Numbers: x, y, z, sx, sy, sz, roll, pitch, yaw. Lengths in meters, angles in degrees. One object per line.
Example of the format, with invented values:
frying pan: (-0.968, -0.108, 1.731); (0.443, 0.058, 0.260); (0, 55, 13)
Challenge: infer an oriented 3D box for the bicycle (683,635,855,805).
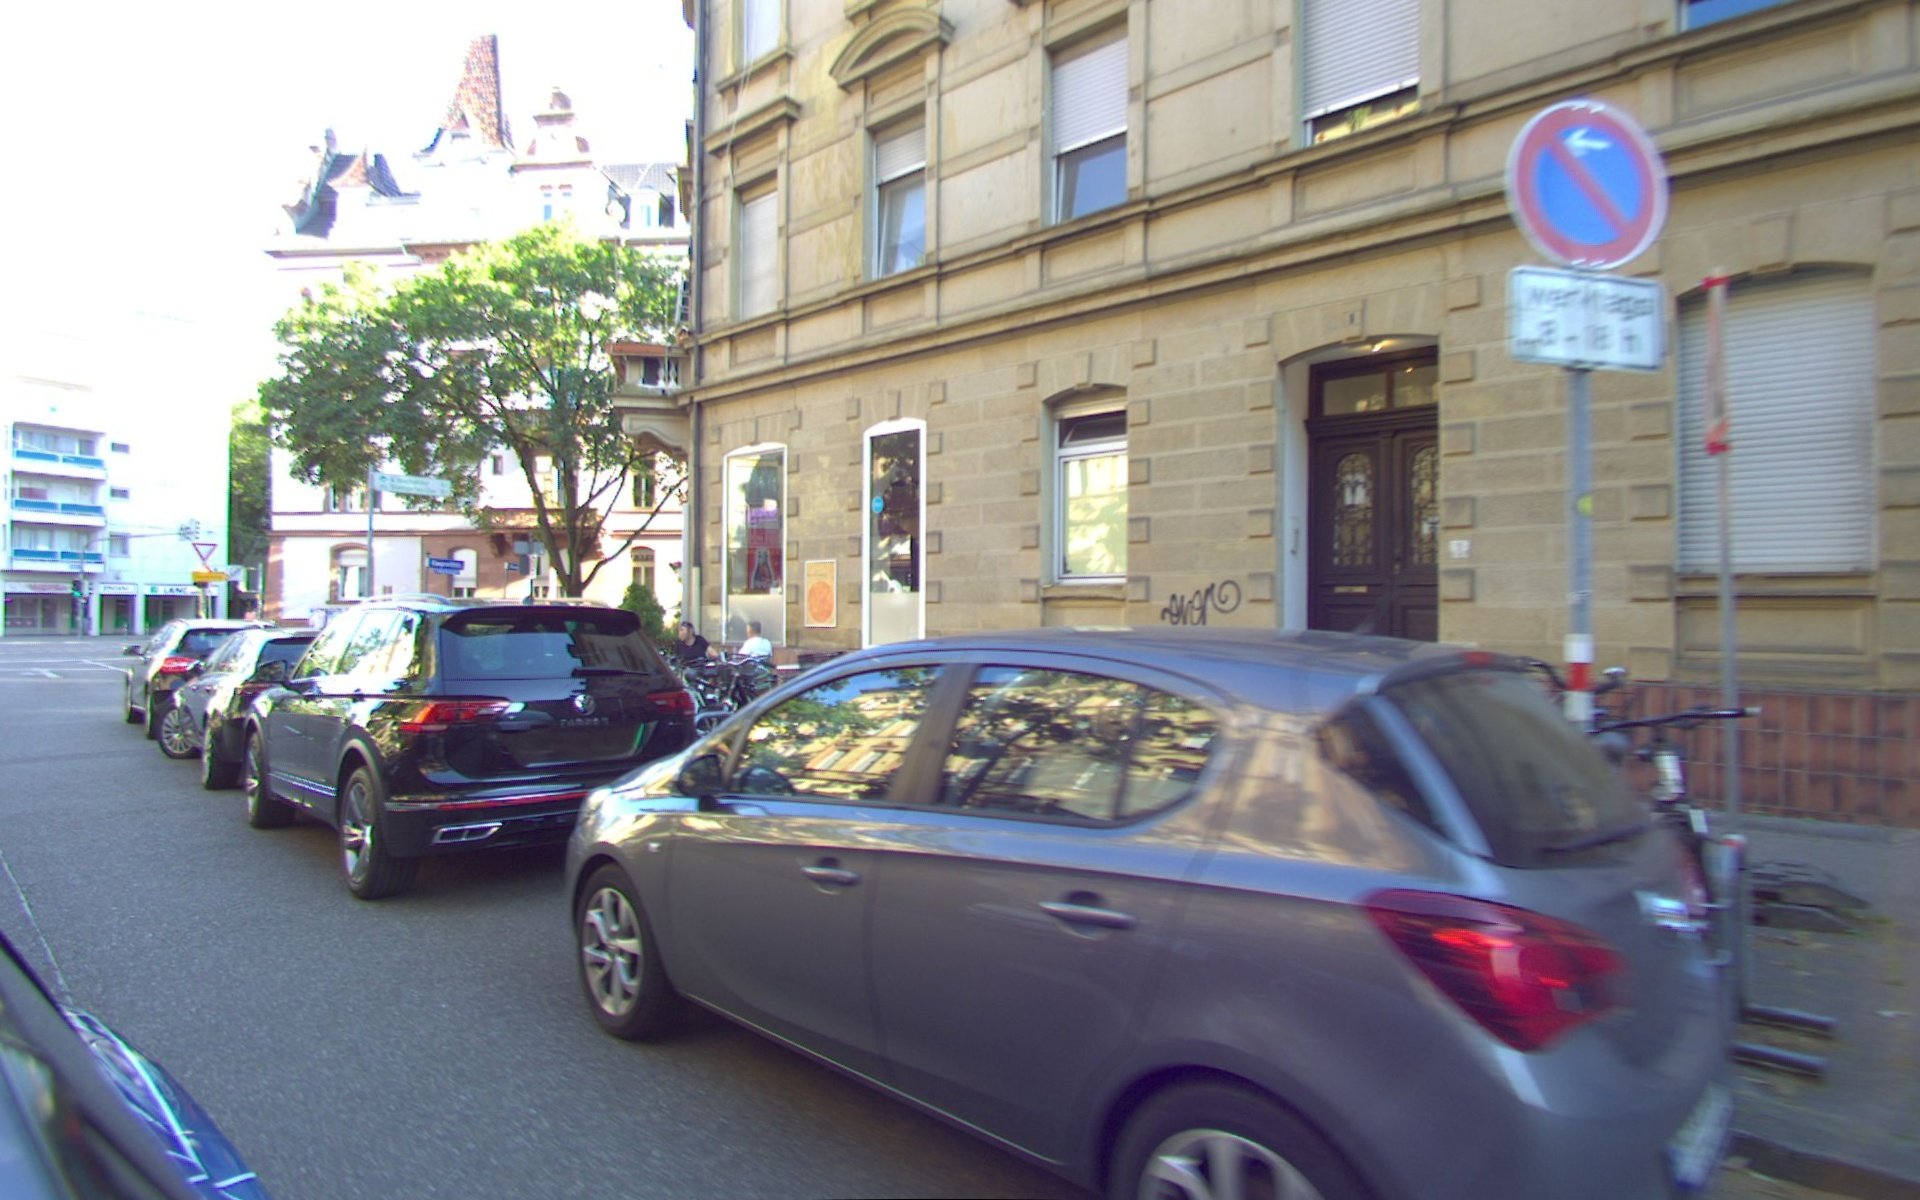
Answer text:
bicycle: (-1.476, 0.887, 8.168); (0.524, 1.137, 1.862); (-1, 0, 18)

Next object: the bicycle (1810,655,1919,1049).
bicycle: (3.626, 0.836, 3.878); (0.528, 1.137, 1.848); (-1, 0, 41)

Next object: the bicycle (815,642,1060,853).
bicycle: (-0.087, 0.893, 6.763); (0.528, 1.137, 1.848); (-1, 0, 41)

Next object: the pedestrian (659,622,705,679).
pedestrian: (-6.473, 1.167, 23.570); (0.740, 1.299, 0.737); (-1, -1, 31)

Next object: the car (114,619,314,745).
car: (-10.558, 1.027, 14.207); (1.738, 1.499, 4.142); (2, -2, -43)

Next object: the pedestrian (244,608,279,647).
pedestrian: (-30.733, 1.209, 44.563); (0.857, 1.710, 0.984); (0, -1, 0)

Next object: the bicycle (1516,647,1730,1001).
bicycle: (2.940, 0.823, 4.405); (0.528, 1.137, 1.848); (-1, 0, 41)

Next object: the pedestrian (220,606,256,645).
pedestrian: (-31.636, 1.112, 44.353); (0.856, 1.710, 0.985); (0, -1, -4)

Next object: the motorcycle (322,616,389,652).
motorcycle: (-22.020, 1.236, 36.918); (0.835, 1.275, 2.099); (0, -1, 16)

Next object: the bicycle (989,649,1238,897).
bicycle: (0.963, 0.906, 5.935); (0.528, 1.137, 1.848); (-1, 0, 41)

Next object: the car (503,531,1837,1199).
car: (0.168, 0.728, 3.384); (4.061, 1.512, 1.738); (-2, -3, 45)

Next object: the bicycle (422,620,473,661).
bicycle: (-15.728, 1.208, 31.017); (0.540, 1.205, 2.960); (1, -1, -44)

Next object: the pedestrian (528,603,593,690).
pedestrian: (-9.049, 1.037, 22.946); (0.840, 1.913, 1.106); (-1, -1, 32)

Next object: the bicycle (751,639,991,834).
bicycle: (-0.570, 0.885, 7.192); (0.528, 1.137, 1.848); (-1, 0, 41)

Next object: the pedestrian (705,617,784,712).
pedestrian: (-2.867, 0.838, 13.501); (0.756, 1.223, 0.718); (-1, -1, 39)

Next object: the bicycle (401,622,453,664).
bicycle: (-16.138, 1.275, 30.596); (0.540, 1.205, 2.960); (1, -1, -44)

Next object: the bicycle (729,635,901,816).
bicycle: (-1.042, 0.875, 7.739); (0.524, 1.137, 1.862); (-1, 0, 18)

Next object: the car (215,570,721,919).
car: (-3.617, 0.734, 6.935); (1.738, 1.612, 4.553); (2, -3, -44)

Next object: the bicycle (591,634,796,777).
bicycle: (-2.441, 0.926, 9.467); (0.528, 1.137, 1.847); (-1, 0, 43)

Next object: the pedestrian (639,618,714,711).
pedestrian: (-3.986, 0.883, 14.224); (0.756, 1.268, 0.718); (-1, -1, 39)

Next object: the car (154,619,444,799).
car: (-7.050, 0.945, 10.565); (1.737, 1.463, 4.554); (2, -2, -43)

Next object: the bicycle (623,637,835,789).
bicycle: (-1.990, 0.932, 8.955); (0.528, 1.137, 1.847); (-1, 0, 43)
